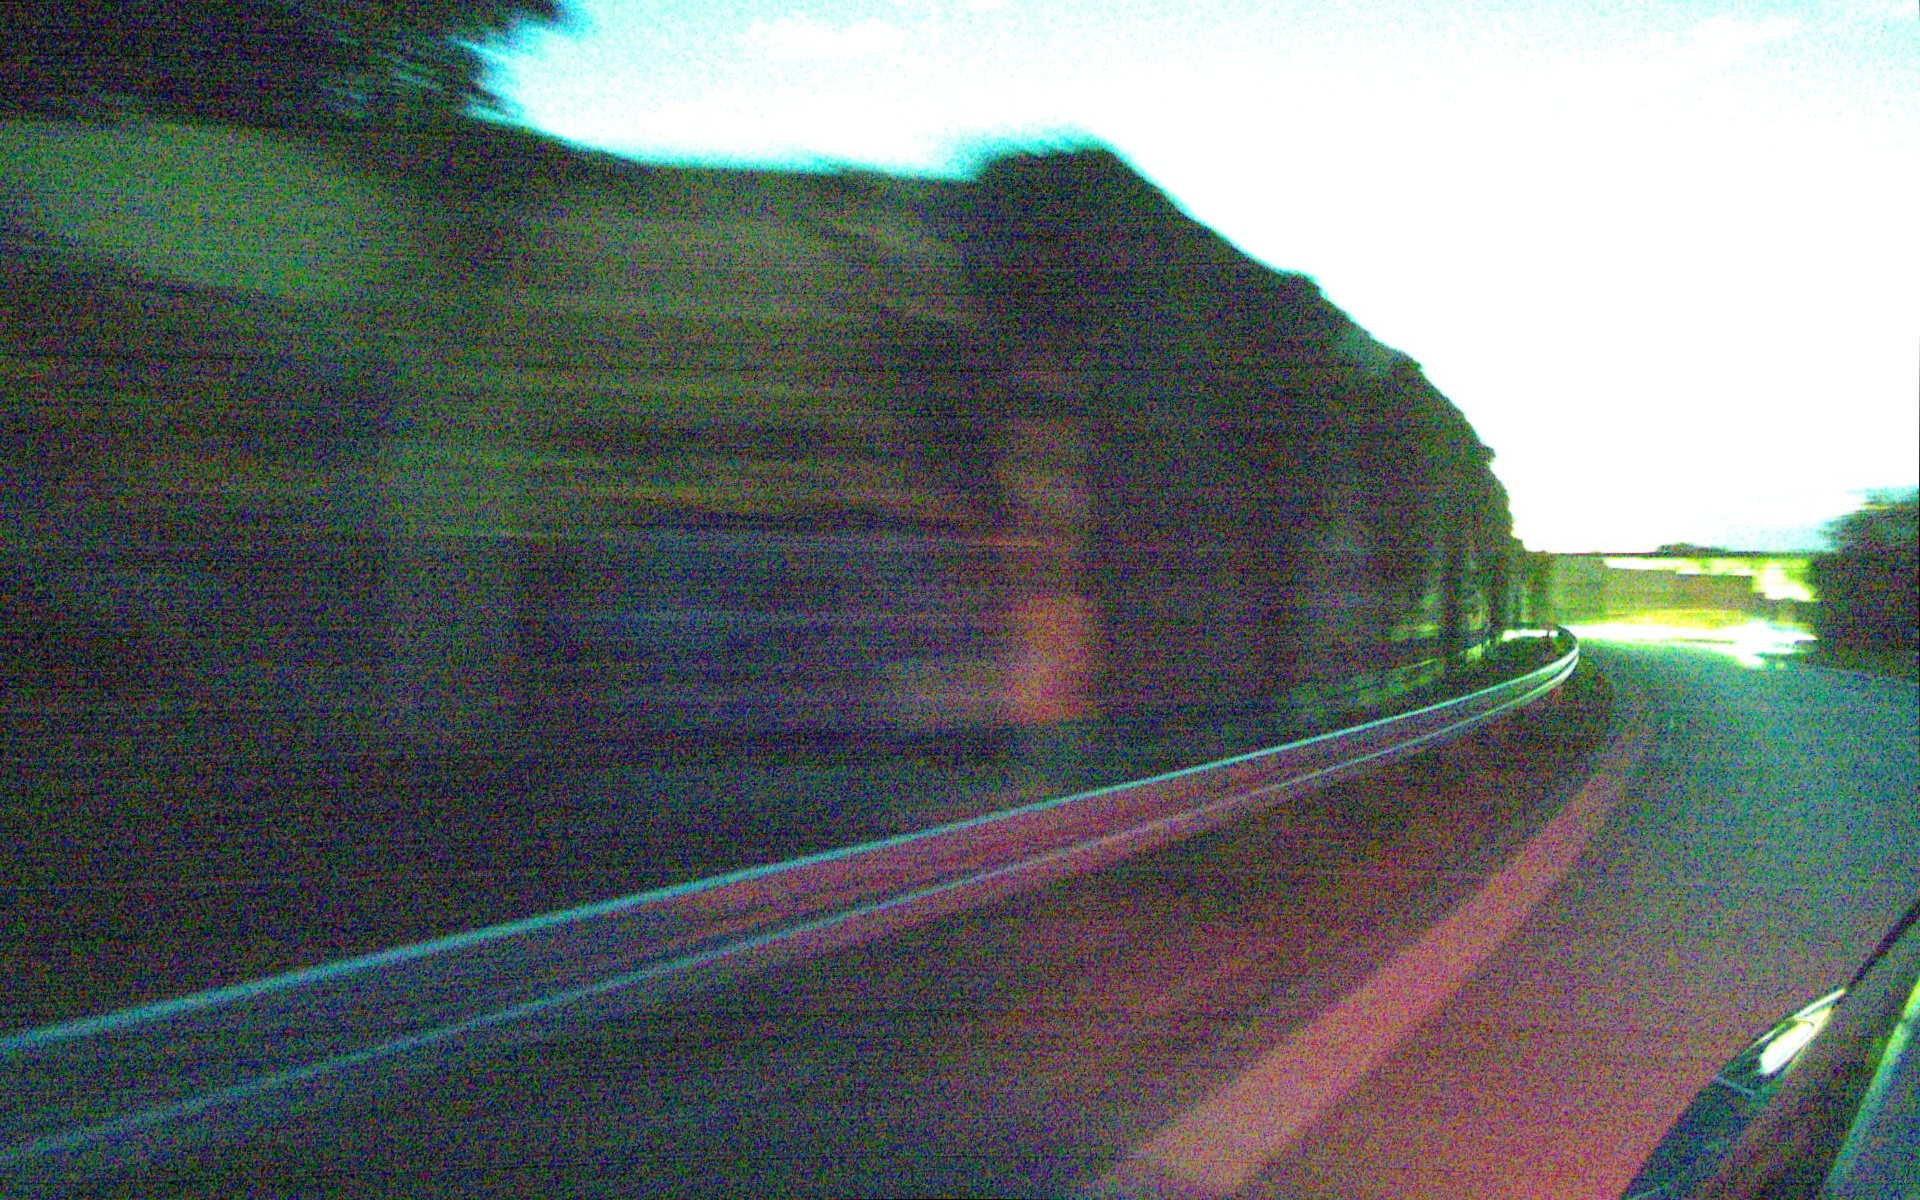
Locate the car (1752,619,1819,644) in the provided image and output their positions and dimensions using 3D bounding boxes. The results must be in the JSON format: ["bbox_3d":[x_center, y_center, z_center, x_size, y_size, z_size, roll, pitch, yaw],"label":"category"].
[{"bbox_3d":[54.869,2.074,67.260,4.105,1.477,1.767,2,1,-24],"label":"car"}]
